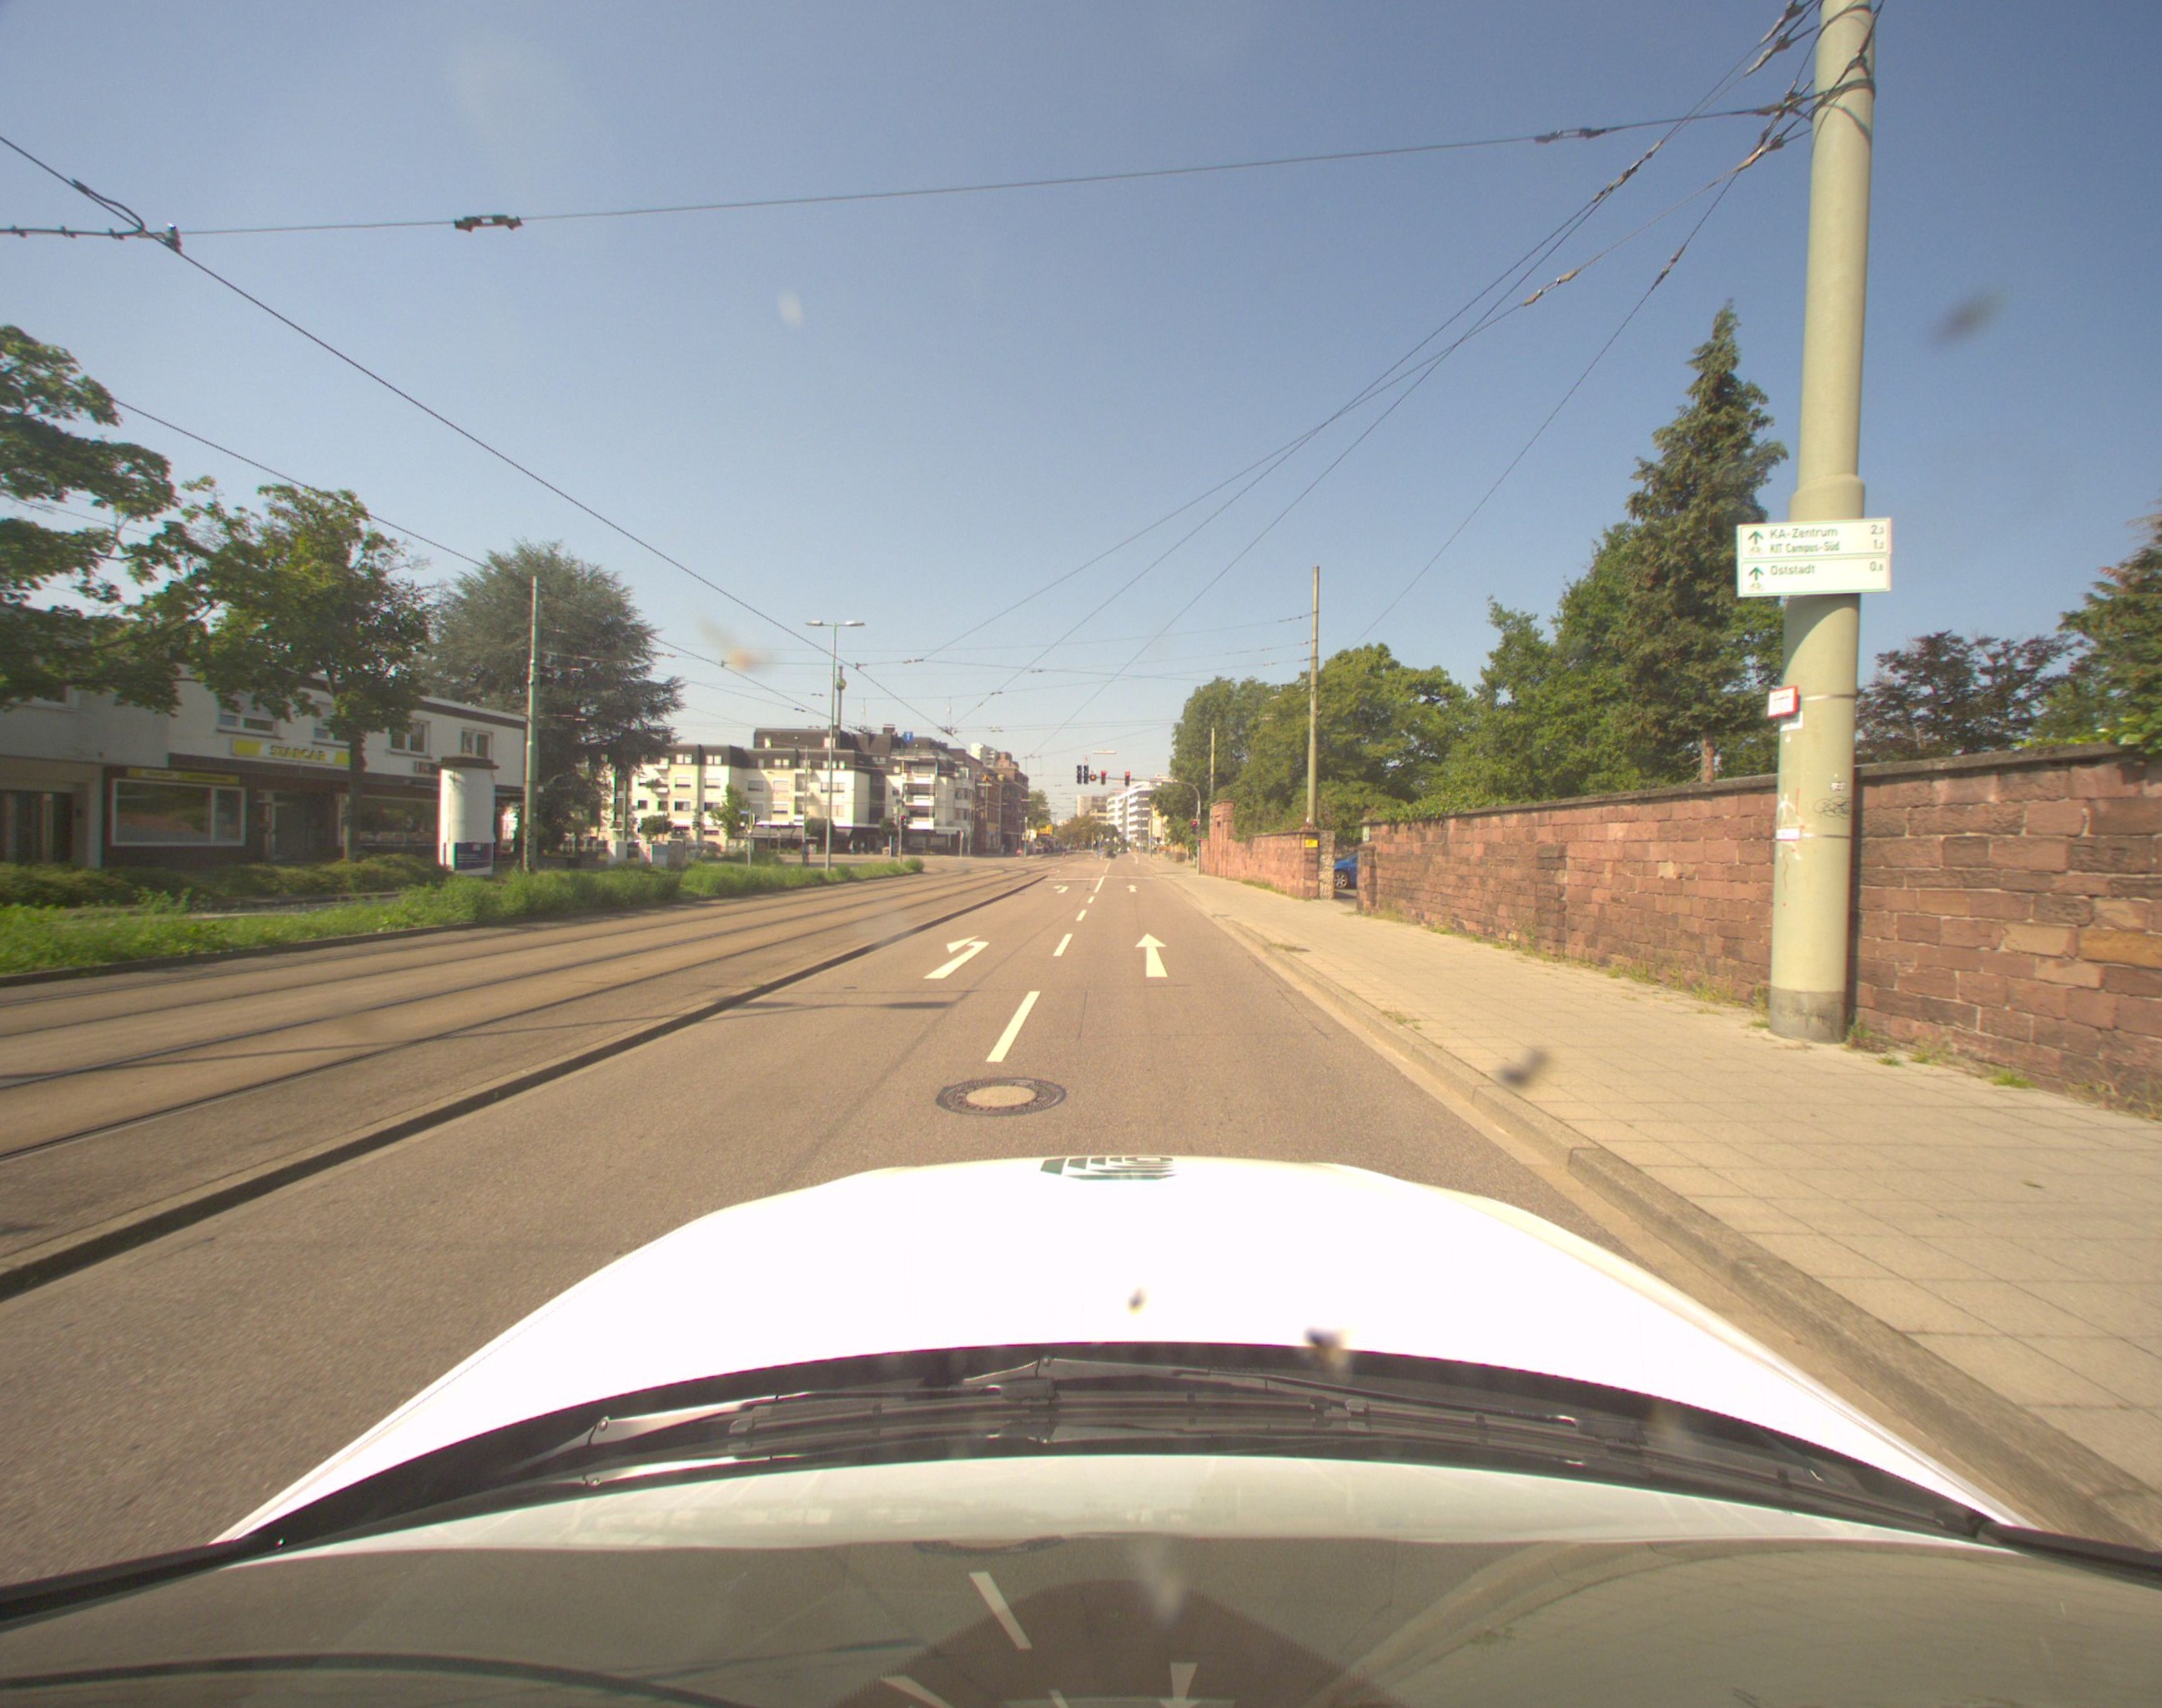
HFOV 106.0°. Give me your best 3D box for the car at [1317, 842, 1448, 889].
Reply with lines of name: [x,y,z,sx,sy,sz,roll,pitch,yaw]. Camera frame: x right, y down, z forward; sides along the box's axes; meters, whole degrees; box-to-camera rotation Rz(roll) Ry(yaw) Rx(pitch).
car: [10.539,0.369,28.666,3.952,1.464,1.778,2,1,1]

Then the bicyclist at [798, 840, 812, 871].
bicyclist: [-18.170,0.092,53.623,0.634,2.064,0.776,-1,0,7]

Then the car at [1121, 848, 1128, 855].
car: [11.959,-0.588,224.315,2.002,1.859,4.005,-1,0,4]

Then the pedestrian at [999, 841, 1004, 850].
pedestrian: [-13.760,-1.446,141.484,0.479,1.560,0.890,2,-1,14]

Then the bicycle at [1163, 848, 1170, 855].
bicycle: [14.123,-0.382,134.661,0.729,1.132,2.835,-2,0,-4]

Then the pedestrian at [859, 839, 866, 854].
pedestrian: [-26.449,-0.923,98.501,0.676,1.741,0.699,-1,0,4]

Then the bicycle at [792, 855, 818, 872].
bicycle: [-18.148,0.625,53.644,0.711,1.091,2.270,-1,0,7]
